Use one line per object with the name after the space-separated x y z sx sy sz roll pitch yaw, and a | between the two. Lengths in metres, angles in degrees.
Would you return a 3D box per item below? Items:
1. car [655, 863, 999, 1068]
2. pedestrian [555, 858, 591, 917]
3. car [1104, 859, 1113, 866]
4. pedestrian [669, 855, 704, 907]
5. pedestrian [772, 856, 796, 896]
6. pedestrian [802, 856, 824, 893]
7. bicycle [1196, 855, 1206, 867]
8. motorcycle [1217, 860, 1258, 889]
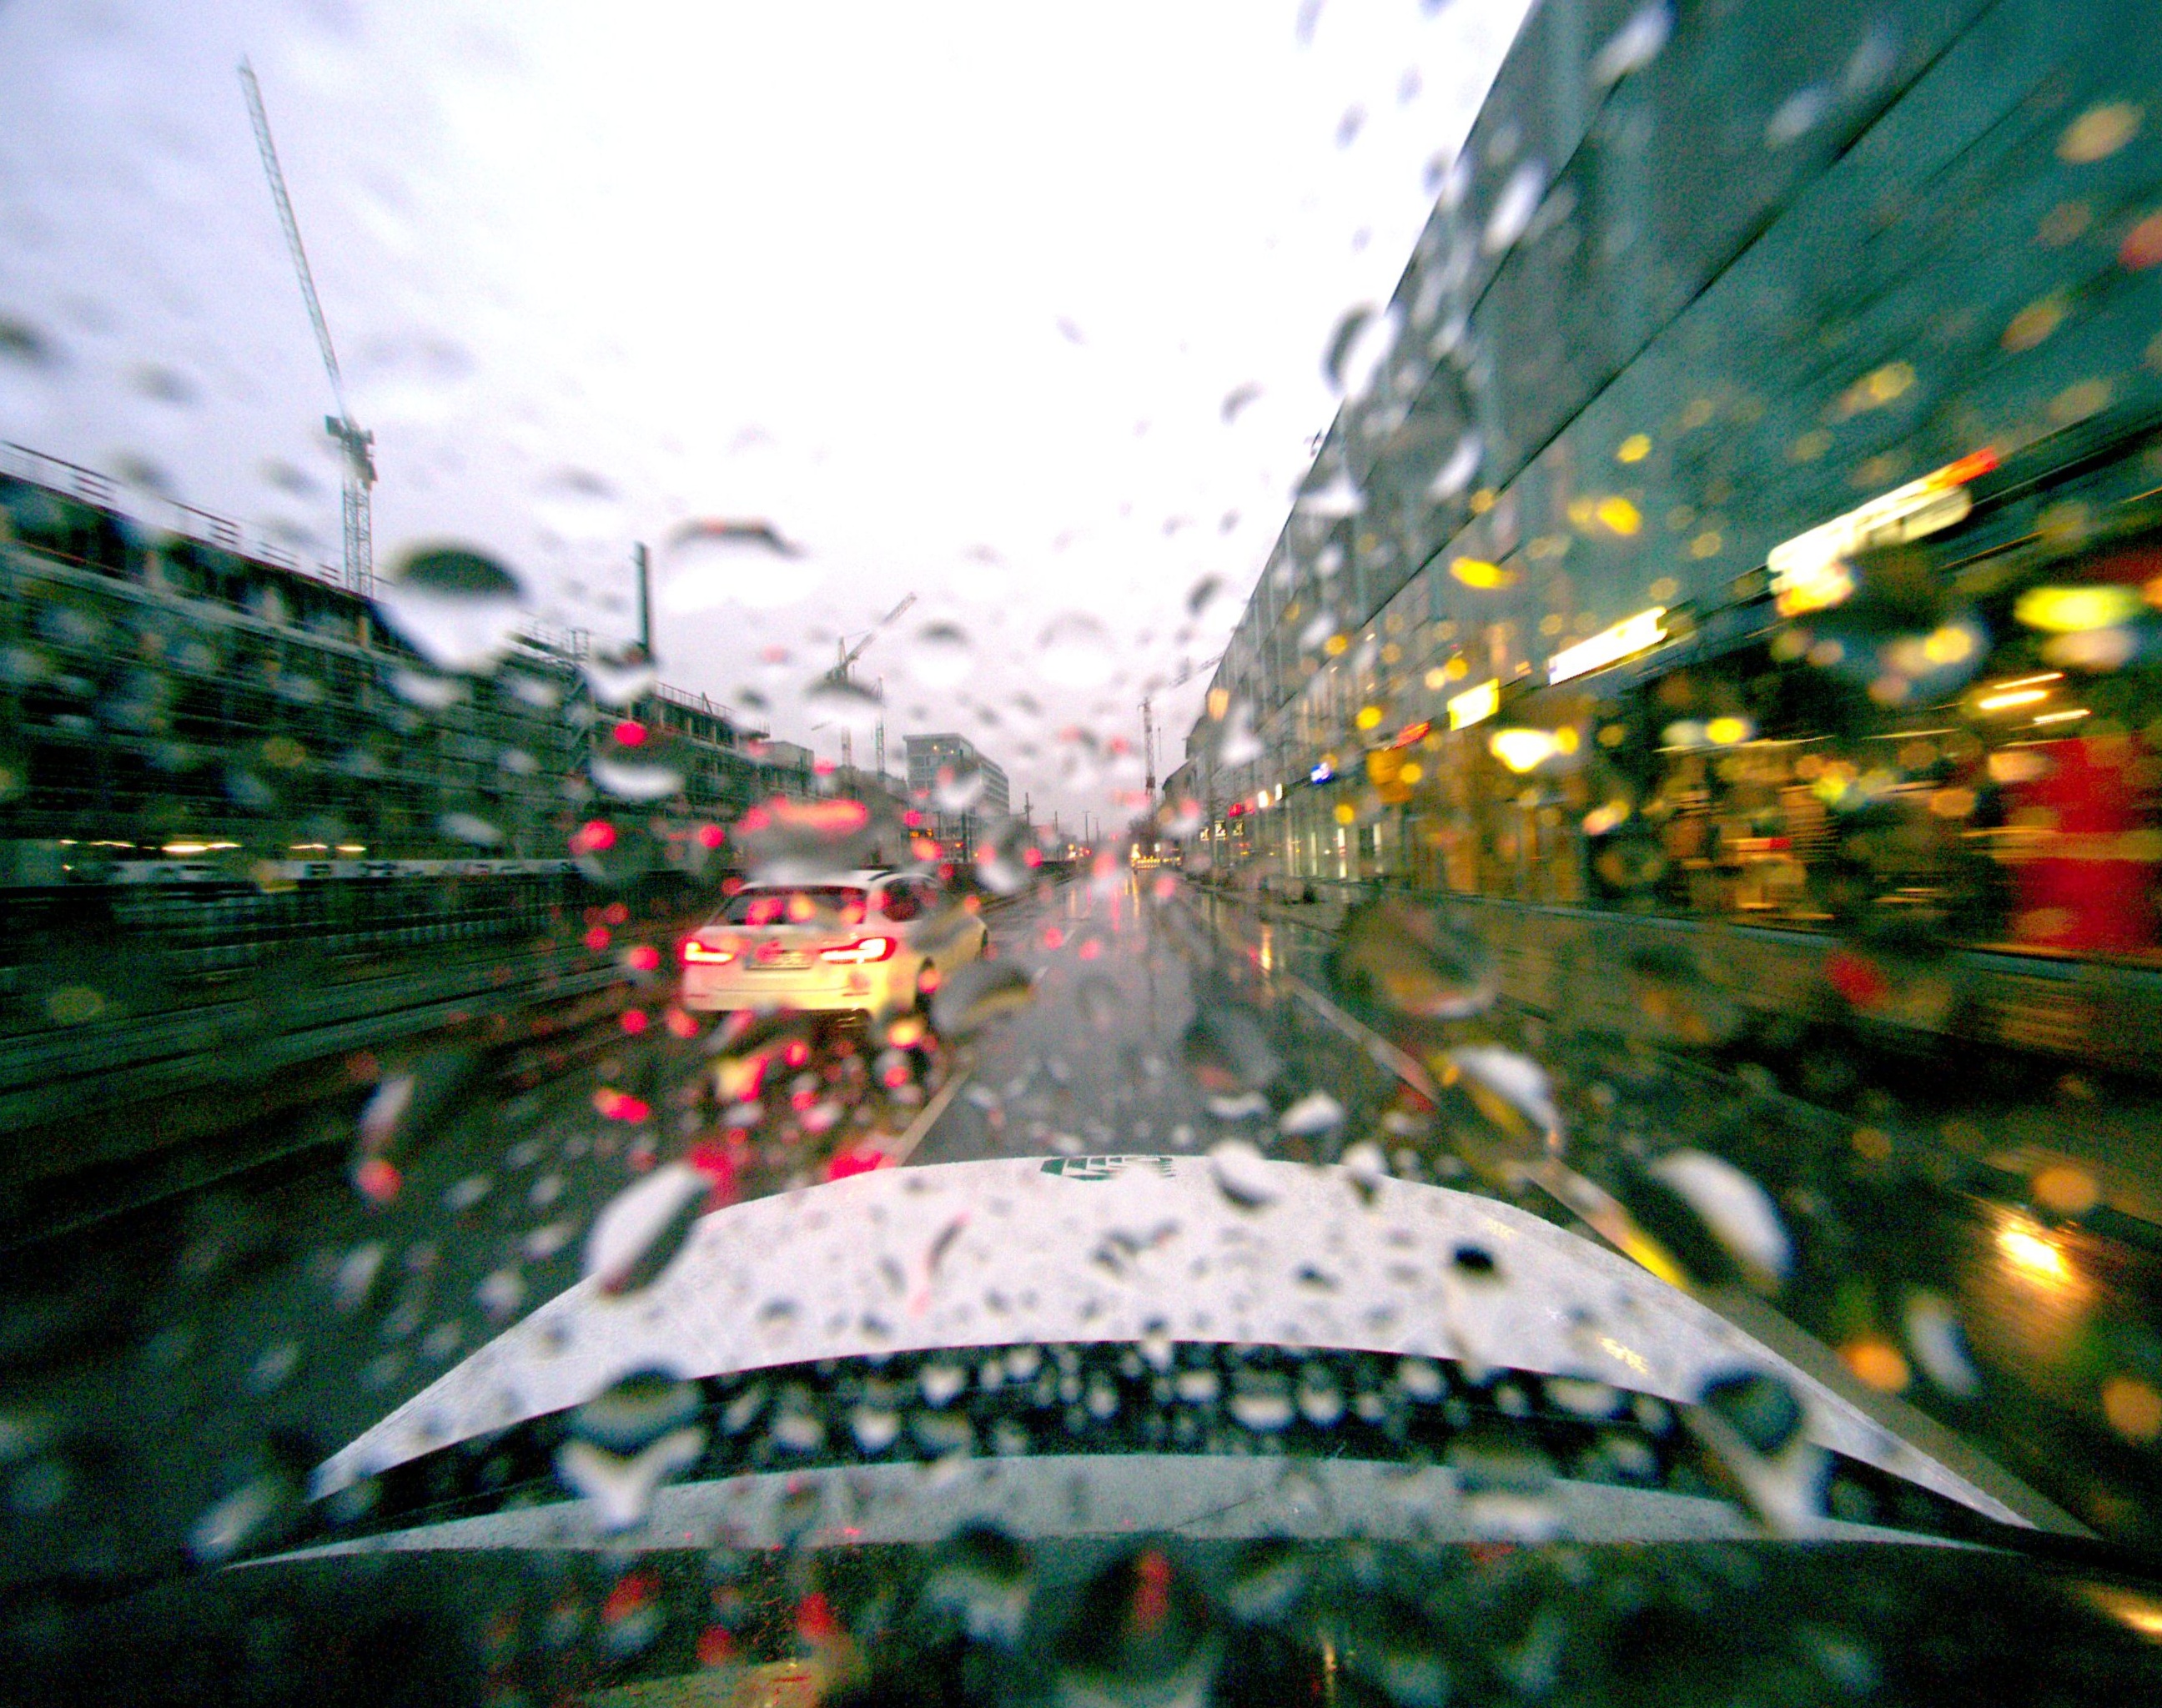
-2.143 0.858 8.527 1.845 1.465 4.949 -1 0 2 | car
-13.801 0.899 22.128 0.539 1.567 0.585 -2 -1 23 | pedestrian
5.986 1.833 177.064 1.893 1.642 4.003 -1 0 3 | car
-12.063 0.820 24.923 0.580 1.550 0.743 -2 -1 14 | pedestrian
-11.934 0.875 32.758 0.580 1.550 0.743 -2 -1 14 | pedestrian
-11.683 0.889 35.487 0.580 1.550 0.743 -2 -1 14 | pedestrian
12.906 0.723 87.618 0.680 1.222 1.906 -5 -1 2 | bicycle
7.762 1.019 40.437 1.885 1.333 0.599 -4 -2 43 | motorcycle
